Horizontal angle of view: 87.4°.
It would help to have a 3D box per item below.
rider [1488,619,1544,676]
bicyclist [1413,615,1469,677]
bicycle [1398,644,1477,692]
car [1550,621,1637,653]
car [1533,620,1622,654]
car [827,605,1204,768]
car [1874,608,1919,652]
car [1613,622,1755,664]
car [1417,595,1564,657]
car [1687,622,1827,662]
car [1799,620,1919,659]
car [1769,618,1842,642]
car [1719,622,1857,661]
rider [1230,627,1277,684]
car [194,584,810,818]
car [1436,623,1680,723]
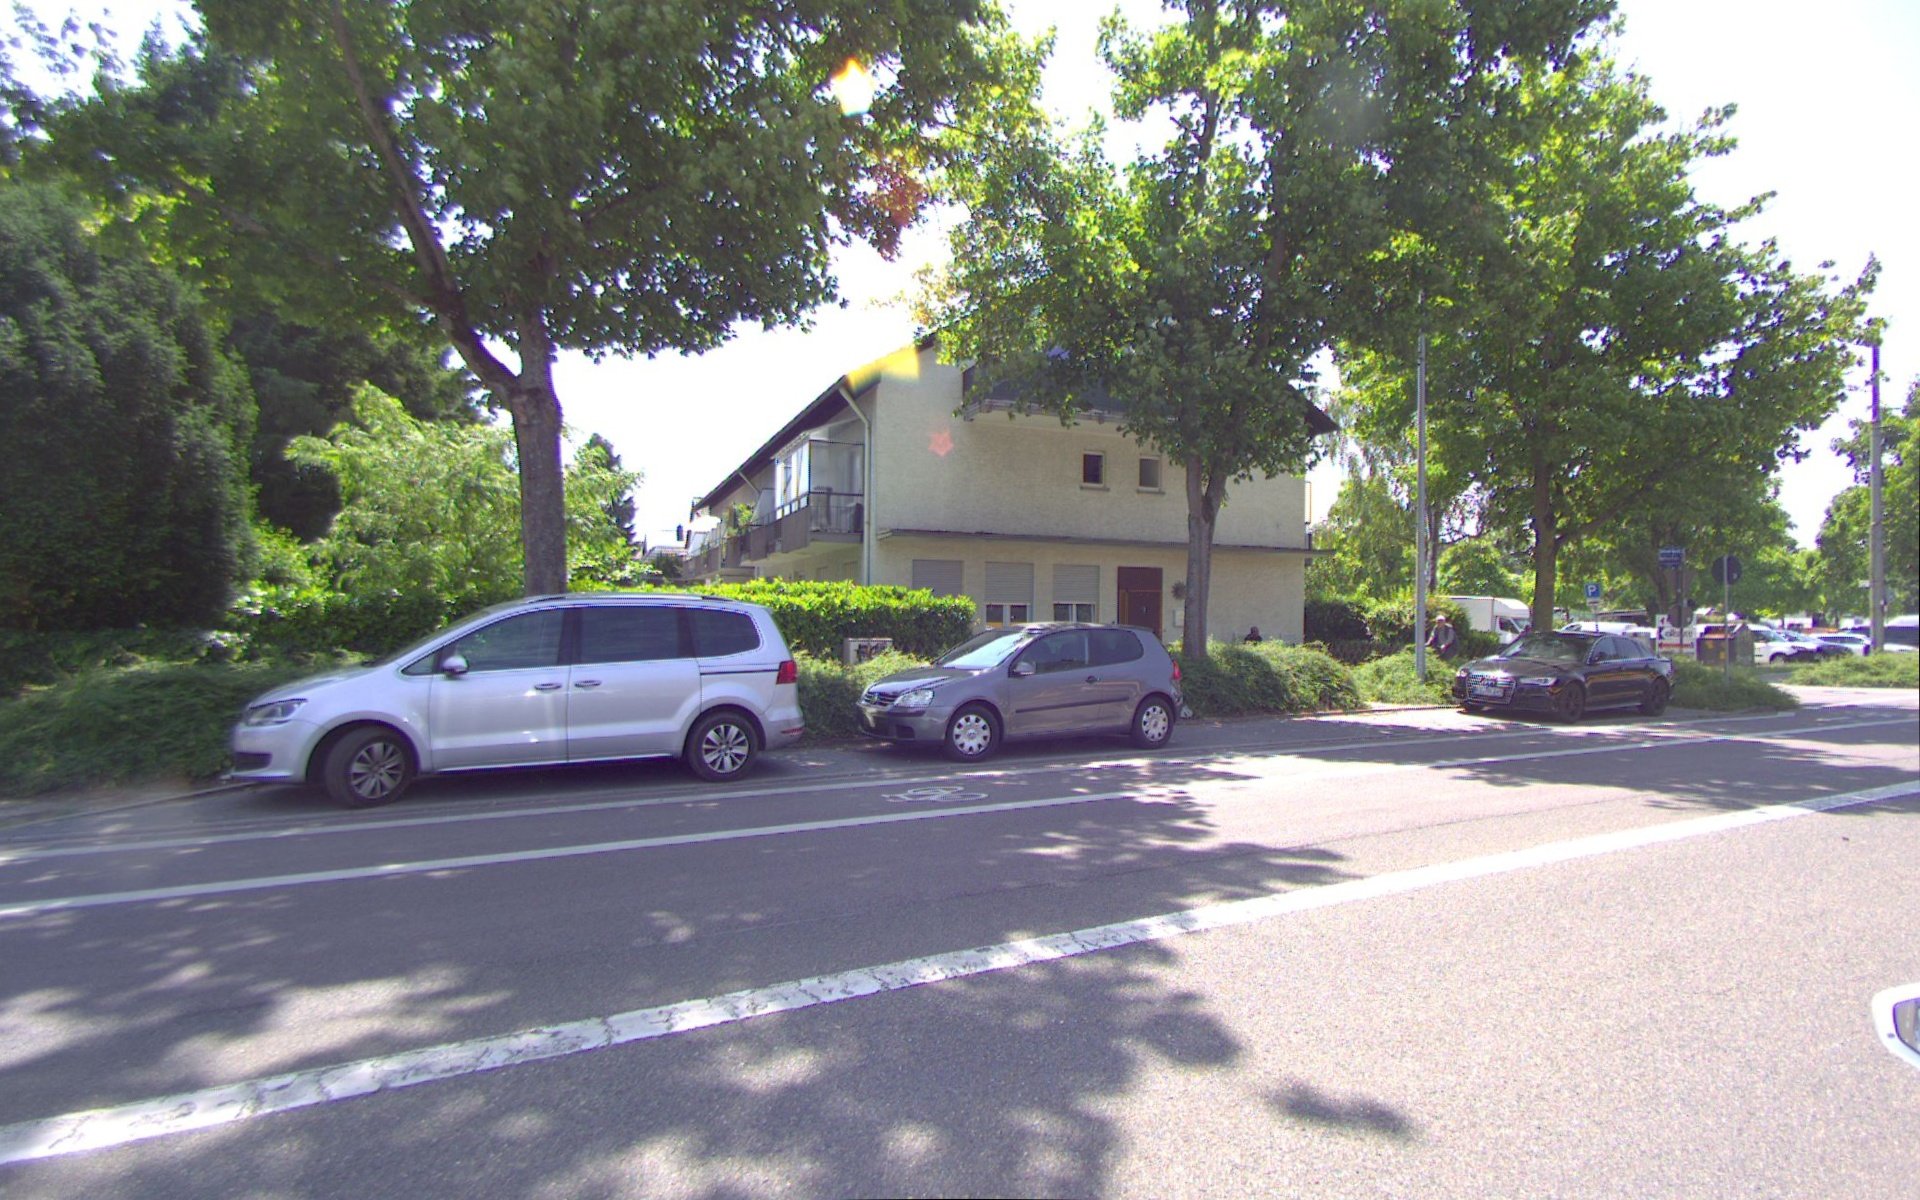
[{"bbox_3d":[14.761,1.260,26.666,0.817,1.378,0.806,1,8,-25],"label":"rider"},{"bbox_3d":[11.349,1.087,23.697,0.817,1.392,0.806,2,1,-27],"label":"bicyclist"},{"bbox_3d":[11.278,1.606,23.695,1.805,1.043,0.698,2,1,-27],"label":"bicycle"},{"bbox_3d":[37.456,2.173,59.429,1.799,1.675,3.957,2,1,-37],"label":"car"},{"bbox_3d":[35.569,2.104,57.921,1.799,1.675,3.957,2,1,-37],"label":"car"},{"bbox_3d":[0.704,0.903,11.877,4.132,1.585,1.809,1,1,-31],"label":"car"},{"bbox_3d":[52.245,1.654,53.252,2.349,2.274,5.076,2,1,-28],"label":"car"},{"bbox_3d":[29.391,1.718,40.900,1.891,1.606,4.321,1,-1,-31],"label":"car"},{"bbox_3d":[28.781,1.346,54.799,2.337,3.005,6.816,2,1,-30],"label":"car"},{"bbox_3d":[33.967,1.741,42.945,1.886,1.606,4.332,1,-1,-24],"label":"car"},{"bbox_3d":[43.188,1.869,48.290,1.975,1.769,3.968,1,-1,-30],"label":"car"},{"bbox_3d":[66.355,2.344,78.869,1.795,1.638,4.000,2,1,-30],"label":"car"},{"bbox_3d":[36.366,1.787,44.227,1.886,1.606,4.333,1,-1,-23],"label":"car"},{"bbox_3d":[7.390,1.377,25.271,0.800,1.392,0.824,1,-1,-22],"label":"rider"},{"bbox_3d":[-3.936,0.753,9.247,4.725,1.687,1.863,1,0,-31],"label":"car"},{"bbox_3d":[10.582,1.209,17.709,4.397,1.496,1.809,1,1,-31],"label":"car"}]
